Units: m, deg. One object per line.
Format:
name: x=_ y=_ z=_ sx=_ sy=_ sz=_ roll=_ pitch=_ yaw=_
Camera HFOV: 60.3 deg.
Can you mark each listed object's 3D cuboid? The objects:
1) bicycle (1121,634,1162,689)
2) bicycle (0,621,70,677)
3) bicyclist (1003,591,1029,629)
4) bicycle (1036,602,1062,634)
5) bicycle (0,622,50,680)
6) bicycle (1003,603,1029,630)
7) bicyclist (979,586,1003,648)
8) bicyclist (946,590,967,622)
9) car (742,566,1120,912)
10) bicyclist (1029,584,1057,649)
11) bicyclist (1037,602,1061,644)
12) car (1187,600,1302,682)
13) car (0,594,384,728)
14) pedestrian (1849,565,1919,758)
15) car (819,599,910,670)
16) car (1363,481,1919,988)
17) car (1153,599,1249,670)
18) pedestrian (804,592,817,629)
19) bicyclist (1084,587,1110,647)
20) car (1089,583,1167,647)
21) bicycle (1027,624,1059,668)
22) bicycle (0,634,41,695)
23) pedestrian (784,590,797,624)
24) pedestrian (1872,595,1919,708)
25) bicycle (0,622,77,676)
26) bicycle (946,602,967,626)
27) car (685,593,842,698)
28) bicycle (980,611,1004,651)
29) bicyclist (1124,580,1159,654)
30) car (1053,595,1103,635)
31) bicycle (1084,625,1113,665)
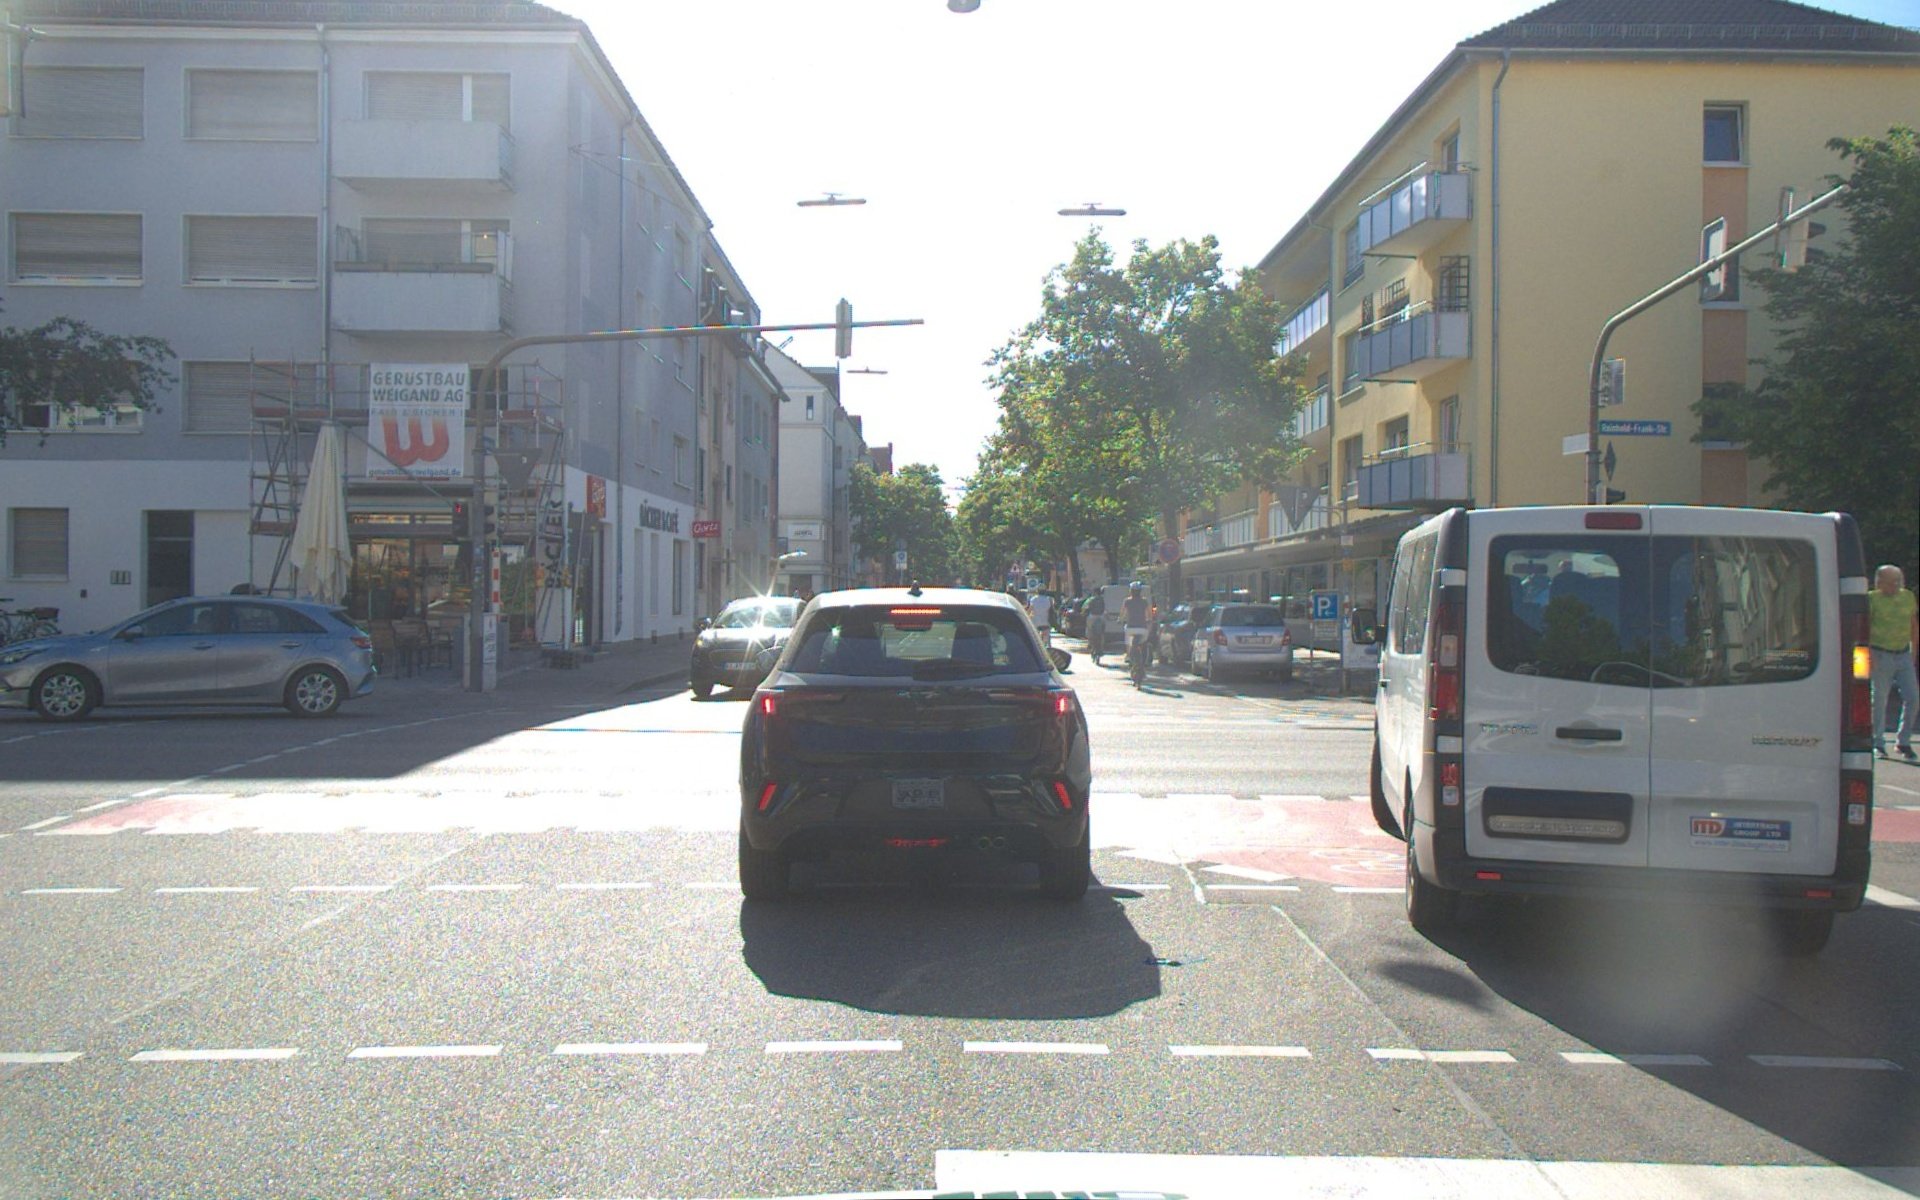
bicycle: x=3.189 y=1.067 z=29.115 sx=0.535 sy=0.881 sz=1.876 roll=0 pitch=0 yaw=1
bicycle: x=-16.457 y=0.858 z=28.870 sx=1.556 sy=0.956 sz=0.512 roll=0 pitch=0 yaw=1
bicyclist: x=2.078 y=0.363 z=61.326 sx=0.839 sy=1.337 sz=1.210 roll=2 pitch=0 yaw=-1
bicycle: x=2.585 y=0.516 z=48.299 sx=0.677 sy=0.881 sz=1.876 roll=0 pitch=0 yaw=1
bicycle: x=-16.351 y=0.860 z=28.058 sx=1.556 sy=0.956 sz=0.512 roll=0 pitch=0 yaw=1
bicycle: x=2.069 y=0.606 z=61.415 sx=0.839 sy=0.961 sz=2.307 roll=2 pitch=0 yaw=-1
bicyclist: x=0.856 y=0.454 z=45.790 sx=0.619 sy=1.698 sz=1.050 roll=0 pitch=0 yaw=-1
bicyclist: x=-0.144 y=0.244 z=71.063 sx=0.839 sy=1.337 sz=1.210 roll=2 pitch=0 yaw=-1
car: x=-0.157 y=0.642 z=9.596 sx=1.726 sy=1.586 sz=3.999 roll=0 pitch=0 yaw=-1
bicyclist: x=1.809 y=0.346 z=36.152 sx=0.576 sy=1.406 sz=0.823 roll=0 pitch=0 yaw=0
bicyclist: x=2.588 y=0.670 z=48.267 sx=0.677 sy=1.214 sz=0.595 roll=0 pitch=0 yaw=0
car: x=5.617 y=0.774 z=32.995 sx=1.677 sy=1.509 sz=3.480 roll=0 pitch=0 yaw=0
car: x=-9.168 y=0.656 z=19.694 sx=4.119 sy=1.459 sz=1.825 roll=0 pitch=0 yaw=-30
pedestrian: x=8.838 y=0.566 z=15.648 sx=0.515 sy=1.792 sz=0.623 roll=0 pitch=0 yaw=-2
car: x=-2.105 y=0.737 z=37.587 sx=1.768 sy=1.437 sz=4.426 roll=-1 pitch=0 yaw=0
car: x=3.377 y=0.534 z=9.189 sx=1.926 sy=1.974 sz=5.060 roll=2 pitch=0 yaw=11
car: x=5.399 y=0.735 z=37.394 sx=1.677 sy=1.509 sz=3.381 roll=0 pitch=0 yaw=0
pedestrian: x=-6.679 y=0.461 z=73.860 sx=0.566 sy=1.610 sz=0.707 roll=0 pitch=0 yaw=-6
bicyclist: x=3.232 y=0.397 z=39.038 sx=0.535 sy=1.406 sz=0.823 roll=0 pitch=0 yaw=1
car: x=5.181 y=0.434 z=51.495 sx=2.004 sy=1.879 sz=4.584 roll=0 pitch=0 yaw=1
bicycle: x=1.804 y=0.995 z=36.139 sx=0.607 sy=0.881 sz=1.876 roll=0 pitch=0 yaw=1
bicycle: x=-14.389 y=0.911 z=23.641 sx=2.086 sy=0.848 sz=0.553 roll=1 pitch=0 yaw=-12
pedestrian: x=-7.557 y=0.311 z=73.880 sx=0.566 sy=1.493 sz=0.702 roll=0 pitch=0 yaw=-6
pedestrian: x=13.482 y=0.731 z=23.697 sx=0.528 sy=1.598 sz=0.539 roll=0 pitch=0 yaw=-1
bicycle: x=-16.698 y=0.871 z=29.555 sx=1.556 sy=0.956 sz=0.512 roll=0 pitch=0 yaw=1
bicycle: x=-0.155 y=0.597 z=71.078 sx=0.839 sy=0.961 sz=2.307 roll=2 pitch=0 yaw=-1
car: x=-3.172 y=0.714 z=27.421 sx=1.558 sy=1.593 sz=4.092 roll=-1 pitch=0 yaw=8
bicycle: x=0.887 y=0.842 z=45.958 sx=0.619 sy=1.059 sz=1.795 roll=0 pitch=0 yaw=-1
bicyclist: x=3.195 y=0.291 z=29.131 sx=0.535 sy=1.284 sz=0.803 roll=0 pitch=0 yaw=0
car: x=4.518 y=0.563 z=63.930 sx=1.677 sy=1.509 sz=3.381 roll=0 pitch=0 yaw=0
bicycle: x=3.240 y=1.047 z=38.872 sx=0.535 sy=0.881 sz=1.876 roll=0 pitch=0 yaw=1
